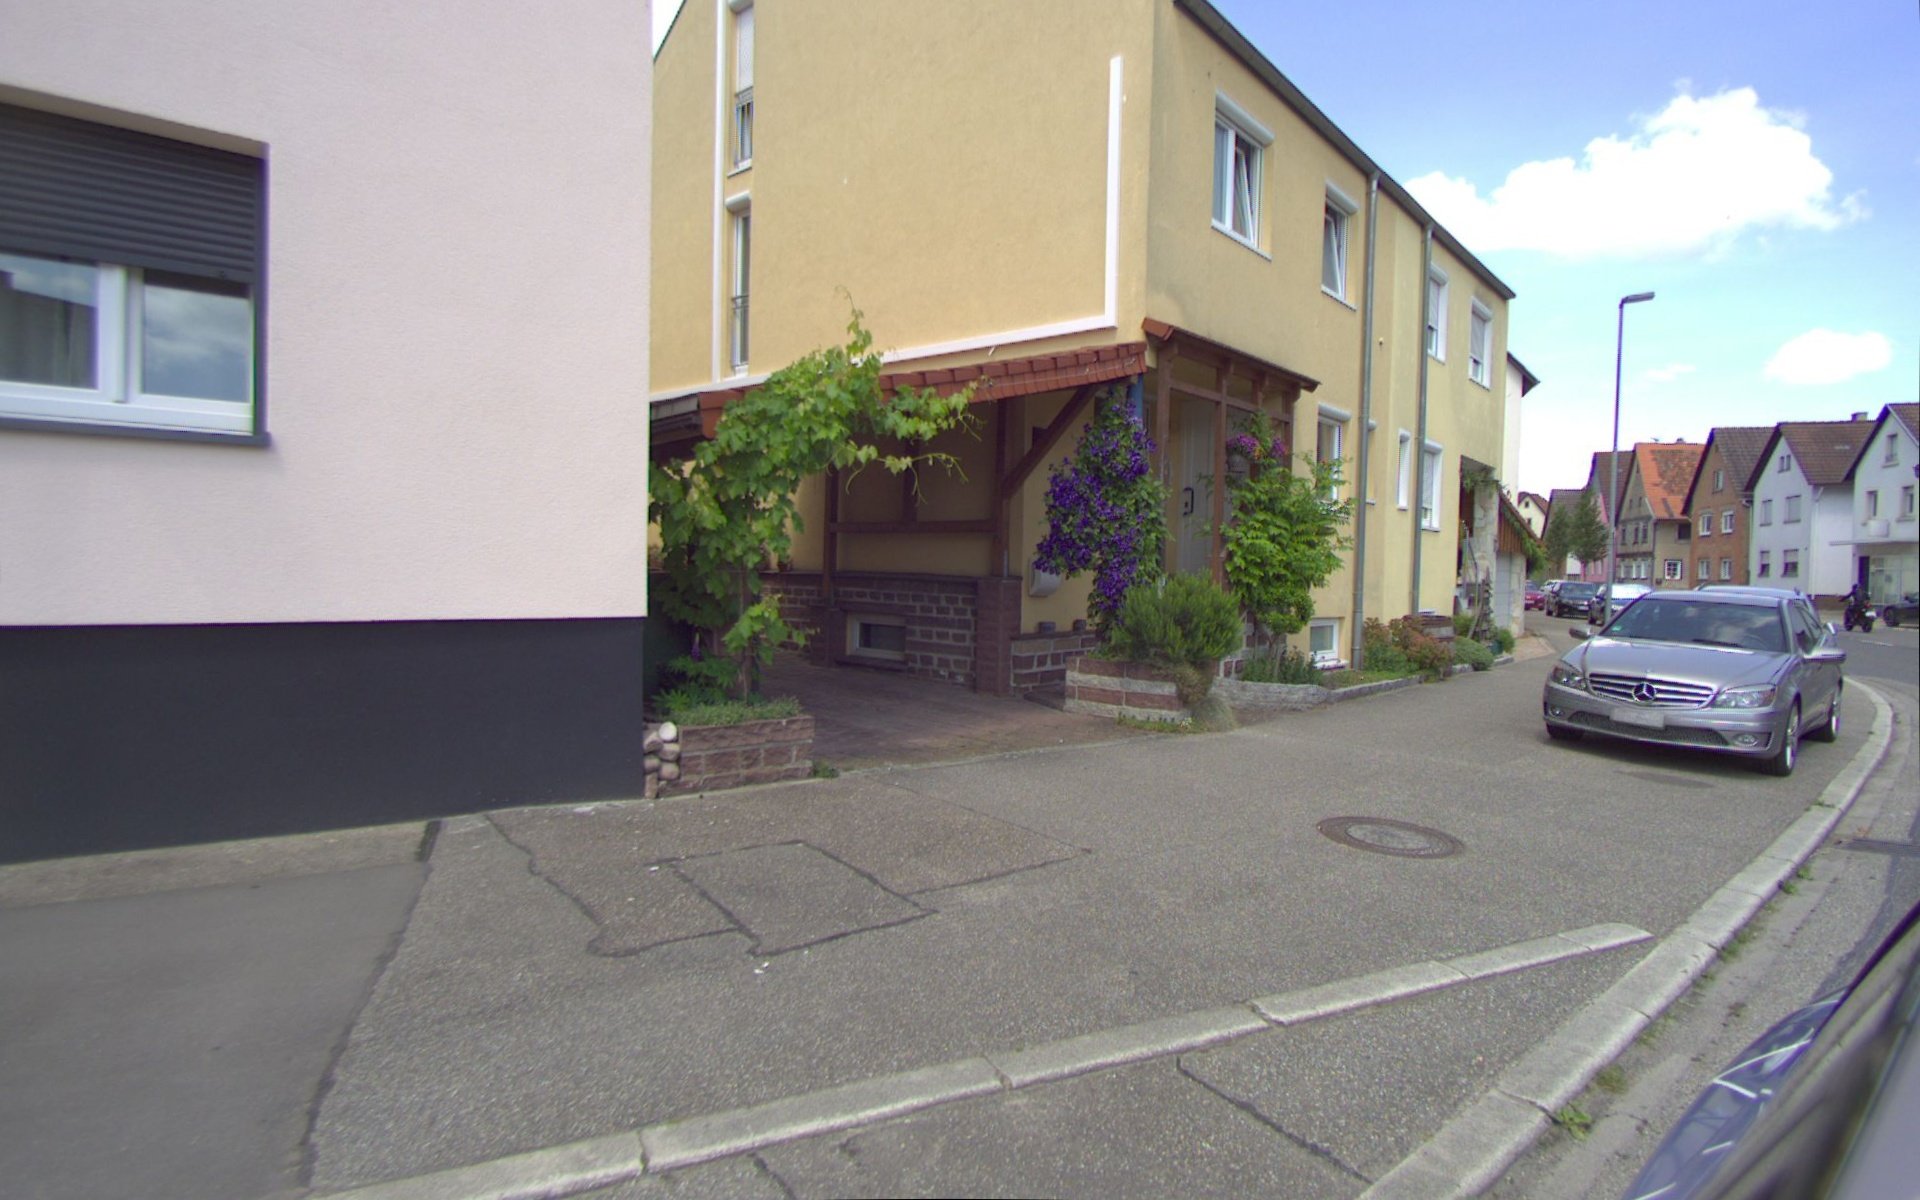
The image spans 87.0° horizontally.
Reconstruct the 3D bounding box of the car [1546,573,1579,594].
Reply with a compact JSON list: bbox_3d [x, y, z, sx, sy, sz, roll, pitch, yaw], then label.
[{"bbox_3d":[47.599,-1.303,79.993,1.664,1.548,3.475,0,3,21],"label":"car"}]

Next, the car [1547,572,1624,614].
[{"bbox_3d":[24.795,-0.243,40.247,1.751,1.549,3.974,1,0,19],"label":"car"}]

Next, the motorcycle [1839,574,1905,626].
[{"bbox_3d":[28.906,-0.002,32.113,0.873,1.580,1.953,1,1,22],"label":"motorcycle"}]

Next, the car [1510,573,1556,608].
[{"bbox_3d":[28.377,-0.497,50.206,1.649,1.668,3.966,0,1,25],"label":"car"}]

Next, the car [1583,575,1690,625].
[{"bbox_3d":[22.232,-0.063,33.442,1.704,1.402,3.983,2,3,15],"label":"car"}]

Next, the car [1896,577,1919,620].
[{"bbox_3d":[32.651,-0.027,32.855,1.789,1.438,4.518,0,1,22],"label":"car"}]

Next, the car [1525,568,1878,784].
[{"bbox_3d":[7.039,0.484,9.426,4.350,1.416,1.773,-2,6,-43],"label":"car"}]

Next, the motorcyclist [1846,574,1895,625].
[{"bbox_3d":[28.924,-0.017,32.170,0.889,1.574,0.801,1,1,22],"label":"motorcyclist"}]

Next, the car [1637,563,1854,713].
[{"bbox_3d":[10.411,0.355,13.290,1.884,1.548,4.271,6,5,41],"label":"car"}]
